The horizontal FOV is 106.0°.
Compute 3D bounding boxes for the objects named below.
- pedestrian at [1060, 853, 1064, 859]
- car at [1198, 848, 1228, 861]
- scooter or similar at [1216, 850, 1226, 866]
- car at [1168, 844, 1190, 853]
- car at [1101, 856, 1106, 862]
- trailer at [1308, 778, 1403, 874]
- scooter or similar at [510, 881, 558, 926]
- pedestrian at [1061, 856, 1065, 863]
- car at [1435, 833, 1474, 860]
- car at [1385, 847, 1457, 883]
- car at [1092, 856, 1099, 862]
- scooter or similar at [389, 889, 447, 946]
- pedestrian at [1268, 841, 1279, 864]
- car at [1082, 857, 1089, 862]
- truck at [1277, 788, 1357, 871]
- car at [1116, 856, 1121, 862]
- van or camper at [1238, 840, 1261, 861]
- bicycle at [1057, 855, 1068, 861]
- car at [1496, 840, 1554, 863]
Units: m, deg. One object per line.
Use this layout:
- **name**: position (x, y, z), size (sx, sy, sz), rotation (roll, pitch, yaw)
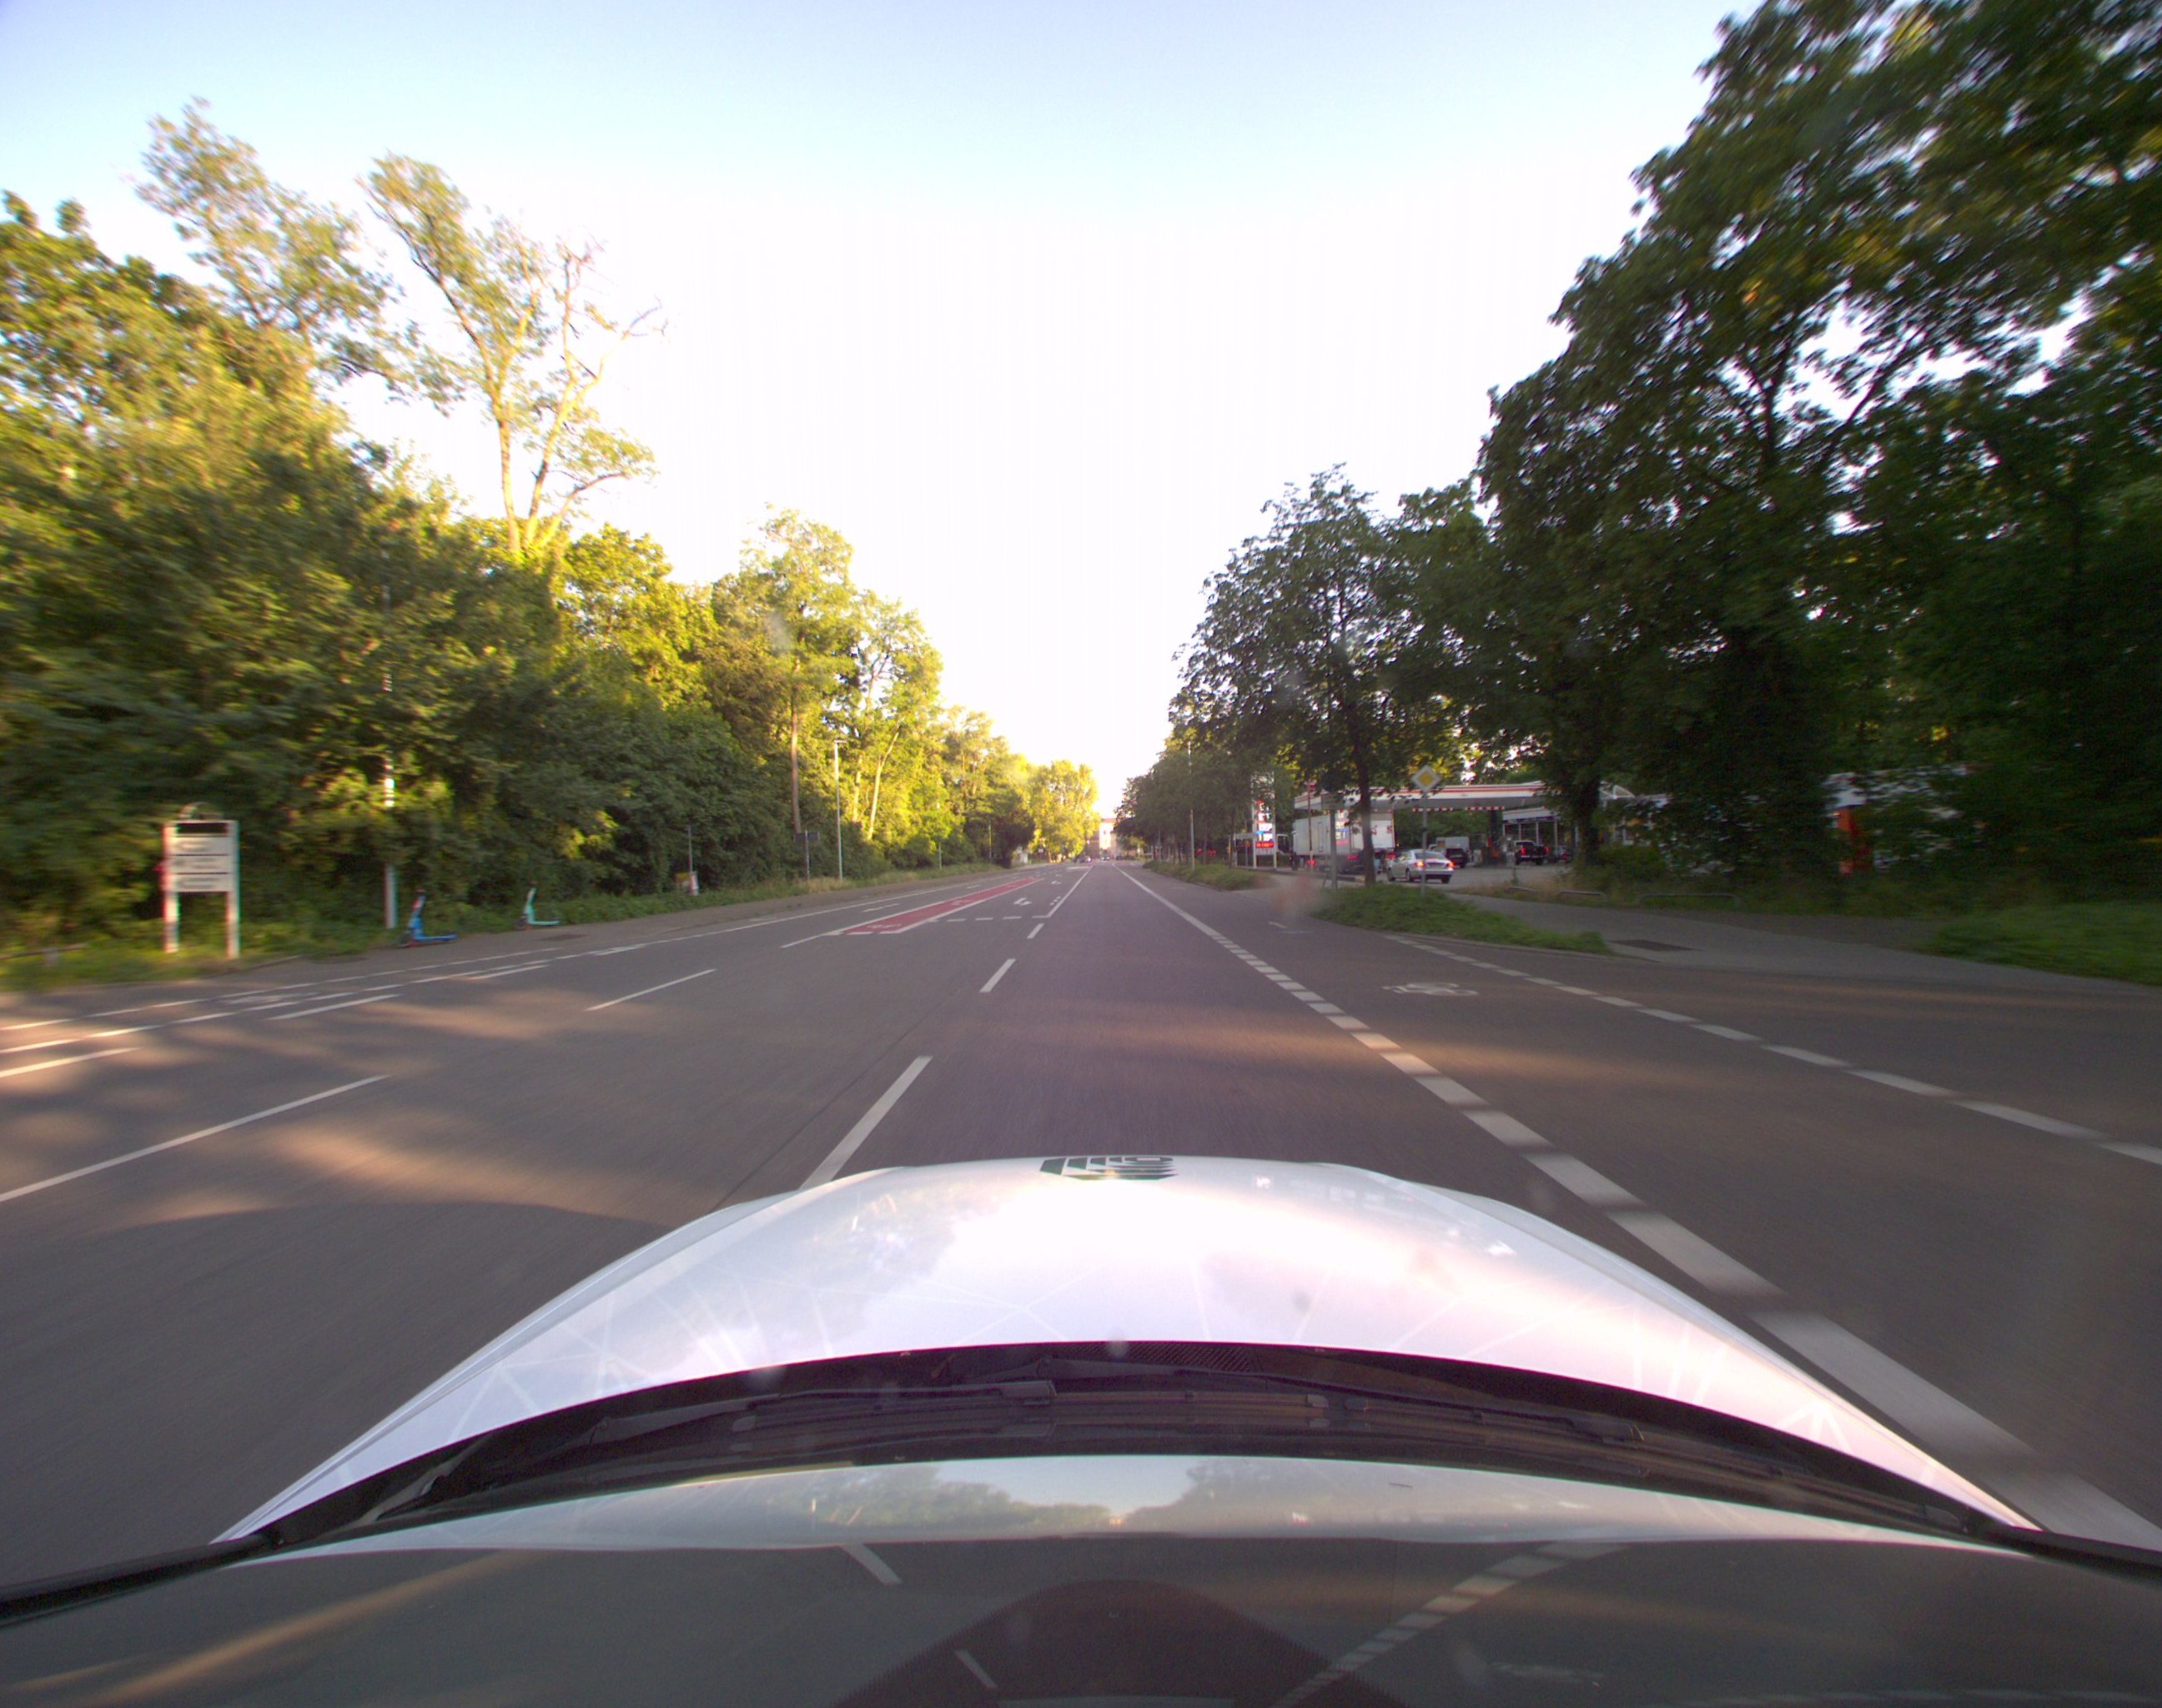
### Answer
- **pedestrian**: position (-4.508, 0.480, 189.035), size (0.786, 1.580, 0.748), rotation (0, 0, 10)
- **car**: position (21.757, 0.129, 134.312), size (4.882, 1.990, 1.927), rotation (-2, 0, 9)
- **scooter or similar**: position (11.935, 0.342, 69.365), size (0.595, 1.282, 1.469), rotation (-2, 0, 2)
- **car**: position (20.557, -1.166, 171.285), size (4.433, 1.590, 1.720), rotation (-2, 0, 9)
- **car**: position (6.564, 1.412, 235.685), size (1.487, 1.486, 3.492), rotation (-2, 0, 2)
- **trailer**: position (16.943, -1.610, 50.930), size (3.011, 5.462, 7.931), rotation (-1, 0, -1)
- **scooter or similar**: position (-13.828, 1.241, 20.603), size (0.901, 1.068, 0.492), rotation (-1, 0, -24)
- **pedestrian**: position (-4.289, 1.344, 196.111), size (0.786, 1.580, 0.748), rotation (0, 0, 10)
- **car**: position (33.406, -0.622, 72.916), size (1.761, 2.347, 4.628), rotation (0, 0, 5)
- **car**: position (15.898, 0.485, 38.368), size (1.761, 1.583, 4.825), rotation (0, 0, 5)
- **car**: position (3.312, 1.191, 189.917), size (1.487, 1.486, 3.492), rotation (-2, 0, 2)
- **scooter or similar**: position (-13.847, 1.304, 17.015), size (0.357, 1.110, 0.885), rotation (-2, 0, 43)
- **pedestrian**: position (14.680, -0.123, 62.090), size (0.754, 1.798, 0.707), rotation (0, 0, 4)
- **car**: position (0.949, 1.261, 185.899), size (1.487, 1.291, 3.492), rotation (-2, 0, 2)
- **truck**: position (16.782, -1.621, 58.572), size (3.025, 5.455, 8.405), rotation (-2, 0, -1)
- **car**: position (10.862, 1.420, 235.134), size (1.487, 1.486, 3.492), rotation (-2, 0, 2)
- **van or camper**: position (27.013, -0.517, 130.624), size (3.415, 3.200, 8.257), rotation (0, 0, 11)
- **bicycle**: position (-4.285, 0.904, 189.078), size (2.447, 1.195, 0.759), rotation (-2, -1, 11)
- **car**: position (31.451, -0.179, 57.861), size (1.978, 1.583, 4.628), rotation (0, 0, 5)
